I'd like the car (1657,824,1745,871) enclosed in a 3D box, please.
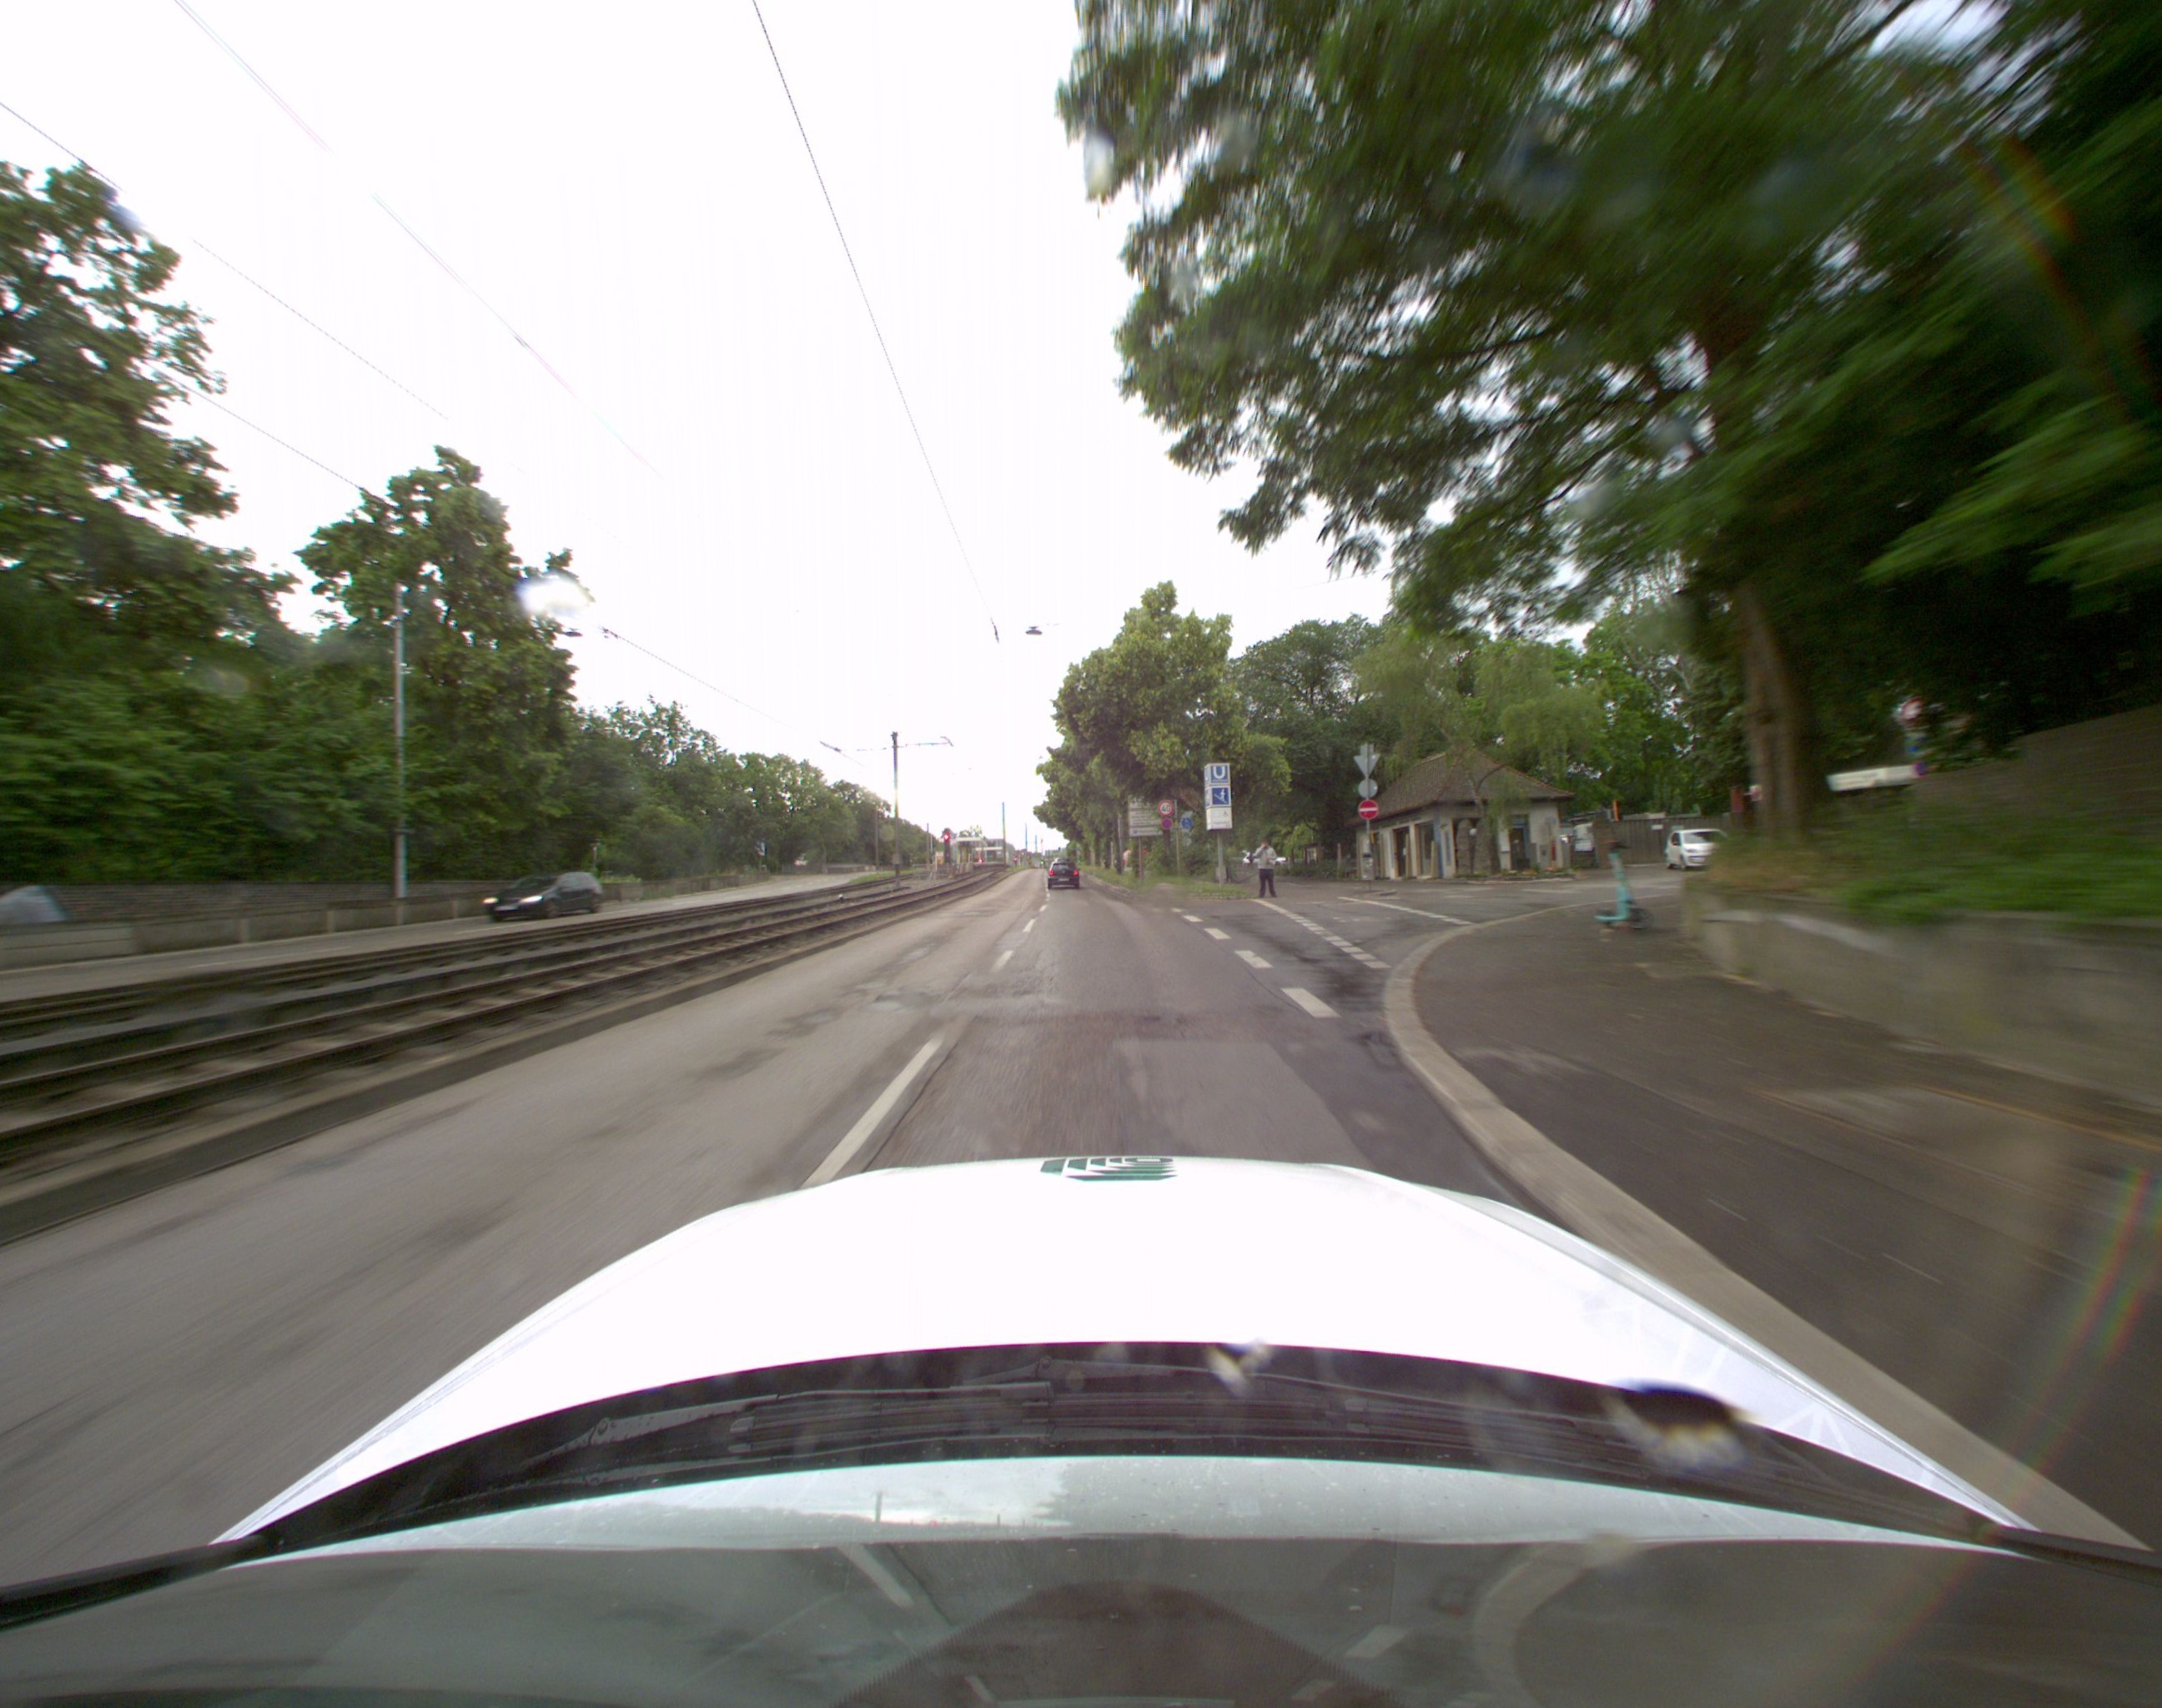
[{"bbox_3d":[22.472,-0.237,29.669,1.810,1.578,3.784,-2,0,26],"label":"car"}]

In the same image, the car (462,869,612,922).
[{"bbox_3d":[-17.290,1.265,26.189,1.960,1.441,4.318,-3,0,-2],"label":"car"}]

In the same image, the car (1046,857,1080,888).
[{"bbox_3d":[-0.964,0.954,43.257,1.722,1.540,3.997,-2,0,-2],"label":"car"}]

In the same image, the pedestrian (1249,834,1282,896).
[{"bbox_3d":[5.706,0.340,25.184,0.852,1.854,0.737,-1,0,1],"label":"pedestrian"}]

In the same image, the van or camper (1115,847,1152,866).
[{"bbox_3d":[7.162,0.373,111.071,2.015,2.406,5.424,2,-1,41],"label":"van or camper"}]

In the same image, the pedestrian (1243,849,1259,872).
[{"bbox_3d":[15.274,0.592,73.221,0.965,2.014,0.942,-1,0,-26],"label":"pedestrian"}]

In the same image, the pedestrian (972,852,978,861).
[{"bbox_3d":[-14.598,0.281,111.928,0.708,1.225,0.619,-1,-1,-2],"label":"pedestrian"}]

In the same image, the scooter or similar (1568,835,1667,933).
[{"bbox_3d":[7.374,0.395,11.247,0.511,1.230,1.317,-5,-1,7],"label":"scooter or similar"}]

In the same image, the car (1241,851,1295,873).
[{"bbox_3d":[16.970,0.707,73.883,1.956,1.834,4.414,1,0,-43],"label":"car"}]

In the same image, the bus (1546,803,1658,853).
[{"bbox_3d":[31.112,-1.434,49.007,2.243,2.701,7.170,-2,0,2],"label":"bus"}]

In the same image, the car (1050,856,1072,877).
[{"bbox_3d":[-1.594,0.981,65.200,1.683,1.517,3.997,-2,0,-2],"label":"car"}]
